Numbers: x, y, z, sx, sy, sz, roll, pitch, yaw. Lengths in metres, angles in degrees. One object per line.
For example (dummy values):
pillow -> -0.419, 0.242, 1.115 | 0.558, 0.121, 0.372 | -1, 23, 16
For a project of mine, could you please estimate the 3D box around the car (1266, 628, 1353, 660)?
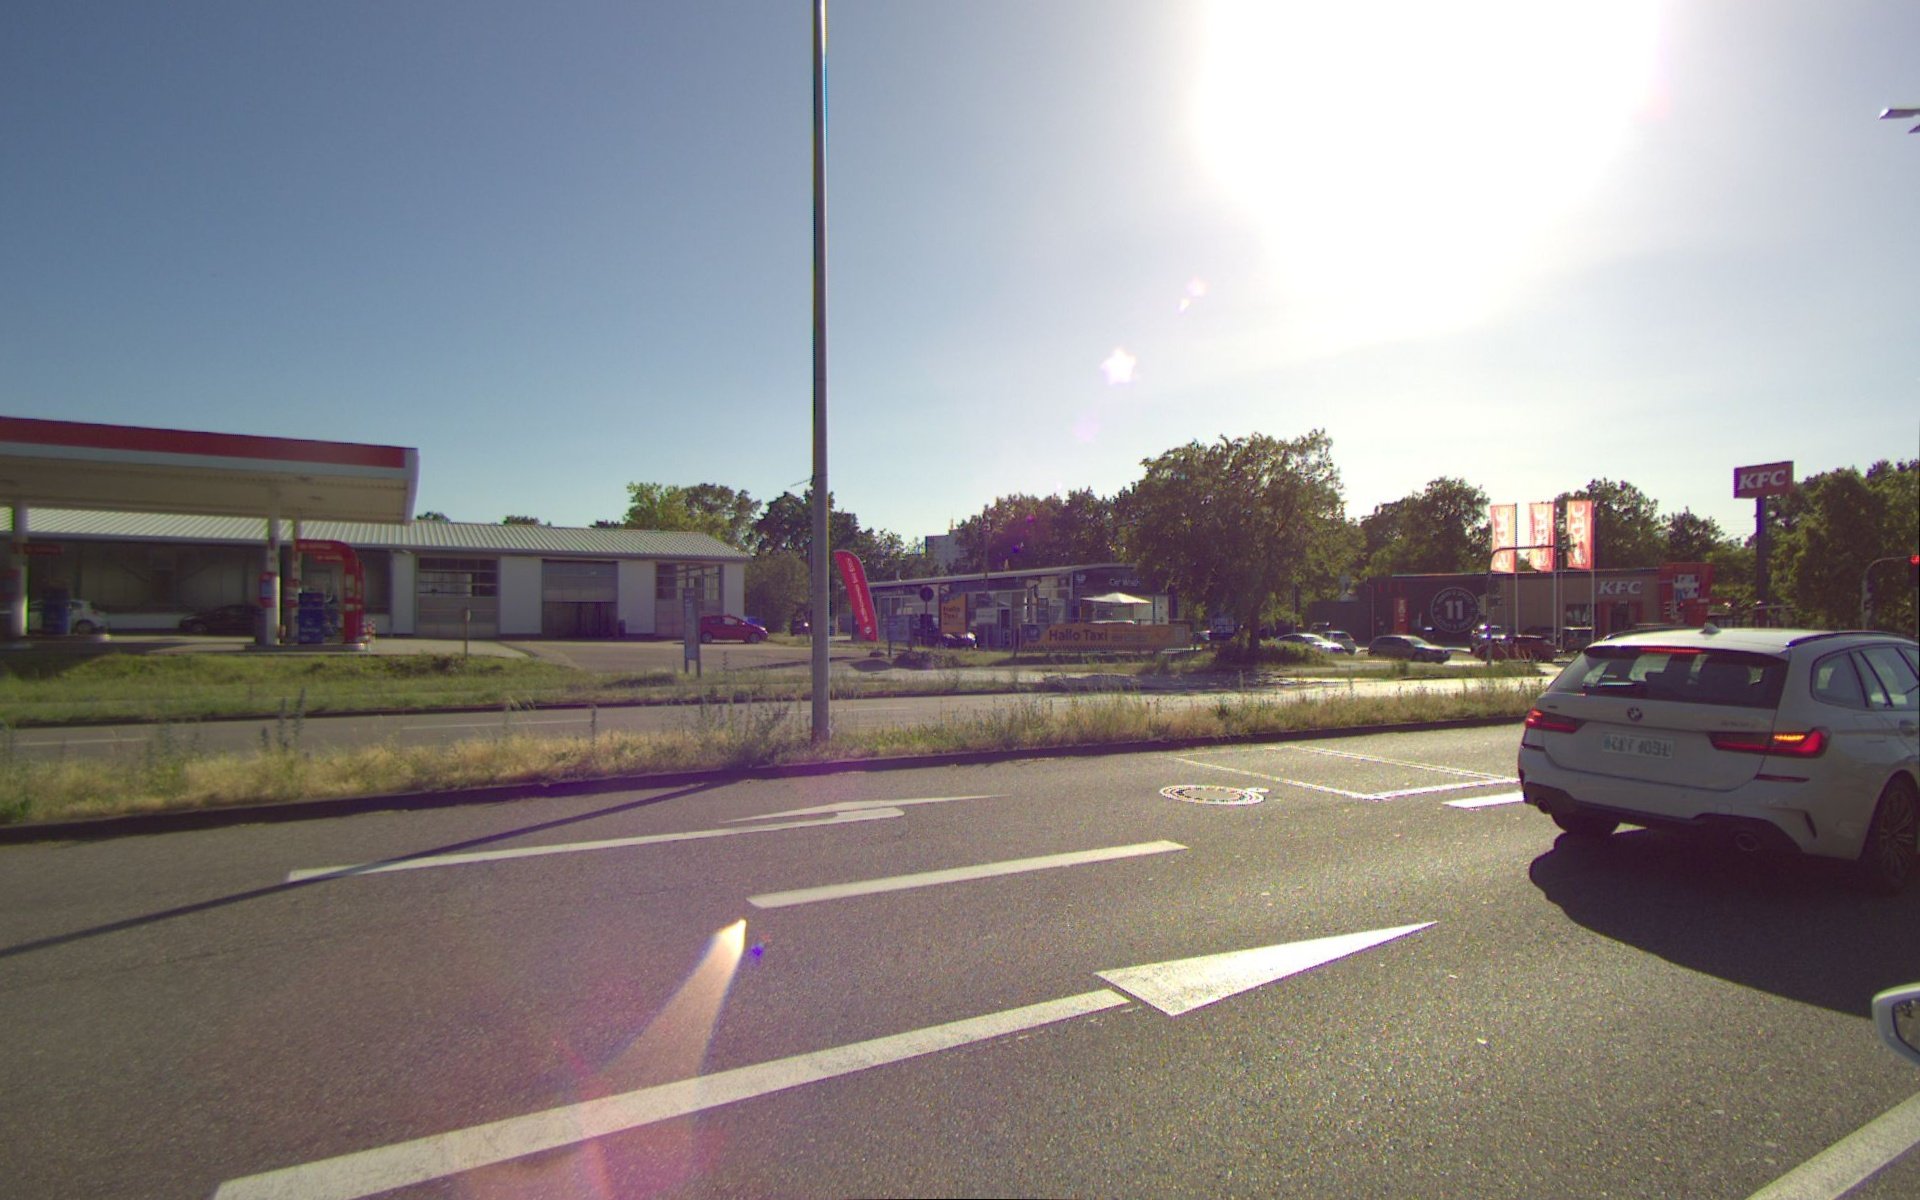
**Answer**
car -> 20.098, 2.491, 57.922 | 1.914, 1.600, 4.599 | 2, 0, -31

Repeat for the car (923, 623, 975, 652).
car -> -0.644, 2.056, 55.925 | 1.516, 1.460, 3.123 | 2, 0, -31

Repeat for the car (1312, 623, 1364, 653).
car -> 24.947, 2.484, 66.417 | 1.961, 1.837, 3.772 | 2, 0, 0

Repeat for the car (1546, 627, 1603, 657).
car -> 38.854, 2.634, 63.656 | 1.896, 1.763, 4.099 | 2, 0, 14

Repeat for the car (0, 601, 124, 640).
car -> -37.329, 0.848, 41.605 | 3.812, 1.508, 1.984 | 2, 0, -30

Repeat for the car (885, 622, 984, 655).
car -> -1.099, 1.622, 43.112 | 3.930, 1.193, 1.774 | 1, 0, 32

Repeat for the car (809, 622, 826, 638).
car -> -19.347, 4.064, 136.881 | 1.962, 2.126, 3.998 | 0, -1, -4

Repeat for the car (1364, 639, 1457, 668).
car -> 23.115, 2.719, 51.675 | 1.850, 1.268, 4.062 | 2, 0, -31

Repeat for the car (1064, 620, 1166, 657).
car -> 6.749, 1.675, 43.789 | 3.941, 1.461, 1.990 | 2, 0, -21

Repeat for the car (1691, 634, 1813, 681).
car -> 31.697, 2.281, 40.234 | 4.254, 1.749, 1.801 | 1, 0, -18

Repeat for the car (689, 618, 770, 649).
car -> -12.149, 1.778, 52.916 | 3.948, 1.491, 1.521 | 2, 0, -24

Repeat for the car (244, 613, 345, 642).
car -> -30.243, 1.251, 45.765 | 3.688, 1.203, 1.667 | 2, 0, -30

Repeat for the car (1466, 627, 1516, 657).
car -> 34.218, 2.667, 64.820 | 1.896, 1.763, 4.099 | 2, 0, 14

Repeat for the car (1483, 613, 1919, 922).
car -> 5.840, 0.911, 6.945 | 4.543, 1.506, 1.803 | 2, 0, -30

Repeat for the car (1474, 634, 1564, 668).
car -> 30.116, 2.720, 54.189 | 1.982, 1.579, 3.733 | 2, 0, -37
